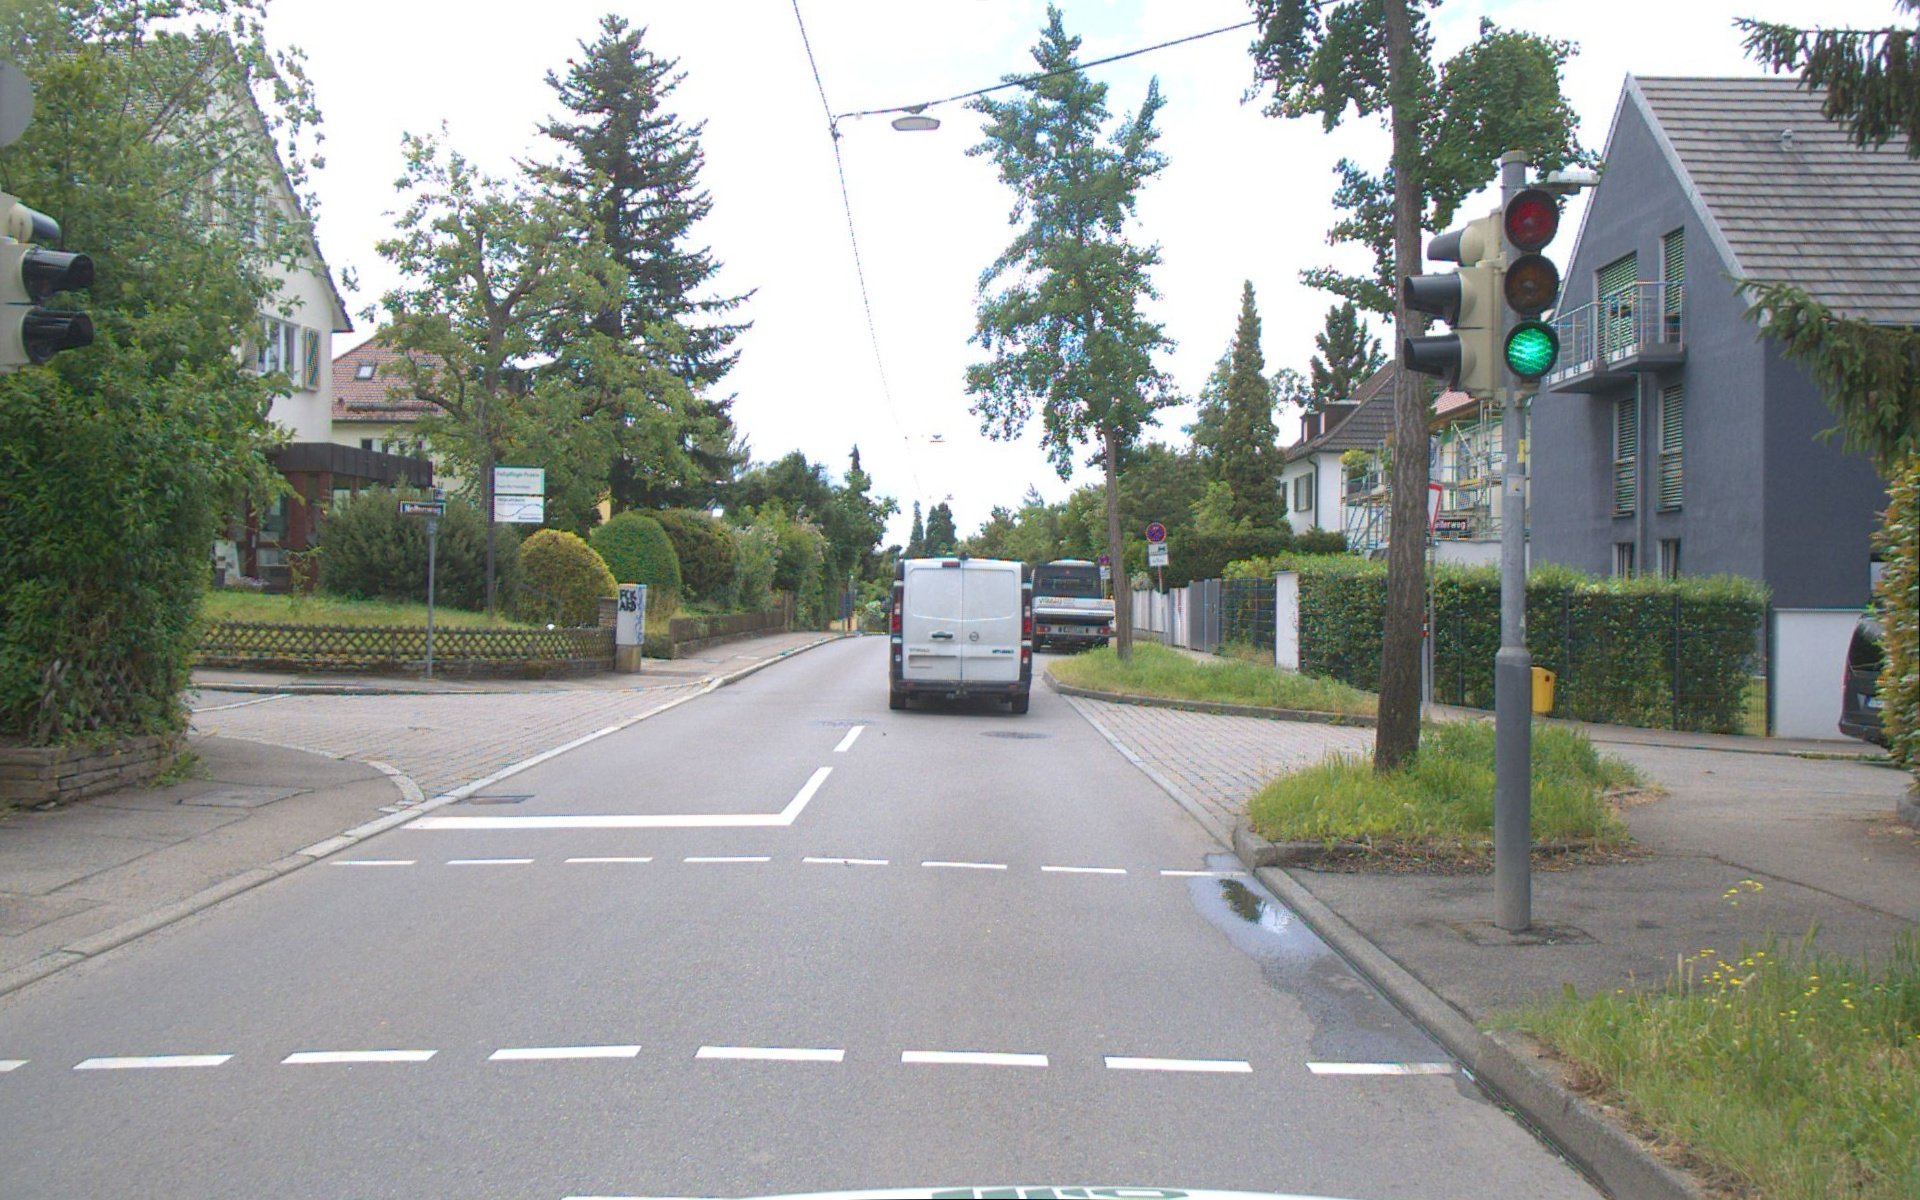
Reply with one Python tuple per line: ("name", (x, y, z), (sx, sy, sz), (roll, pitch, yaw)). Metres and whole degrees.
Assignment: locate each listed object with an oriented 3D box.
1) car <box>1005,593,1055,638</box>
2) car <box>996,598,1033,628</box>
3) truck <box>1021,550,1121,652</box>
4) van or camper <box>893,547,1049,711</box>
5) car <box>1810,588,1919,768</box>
("car", (2.754, 0.608, 65.676), (1.709, 1.704, 4.184), (0, -1, -1))
("car", (2.756, 0.676, 84.332), (1.709, 1.472, 4.258), (0, -1, -1))
("truck", (2.929, 0.032, 45.156), (2.142, 2.515, 7.429), (1, 0, 0))
("van or camper", (0.105, 0.410, 22.856), (1.900, 1.988, 4.764), (1, -1, -1))
("car", (12.964, 0.943, 19.583), (4.662, 2.001, 2.158), (2, 0, -1))
